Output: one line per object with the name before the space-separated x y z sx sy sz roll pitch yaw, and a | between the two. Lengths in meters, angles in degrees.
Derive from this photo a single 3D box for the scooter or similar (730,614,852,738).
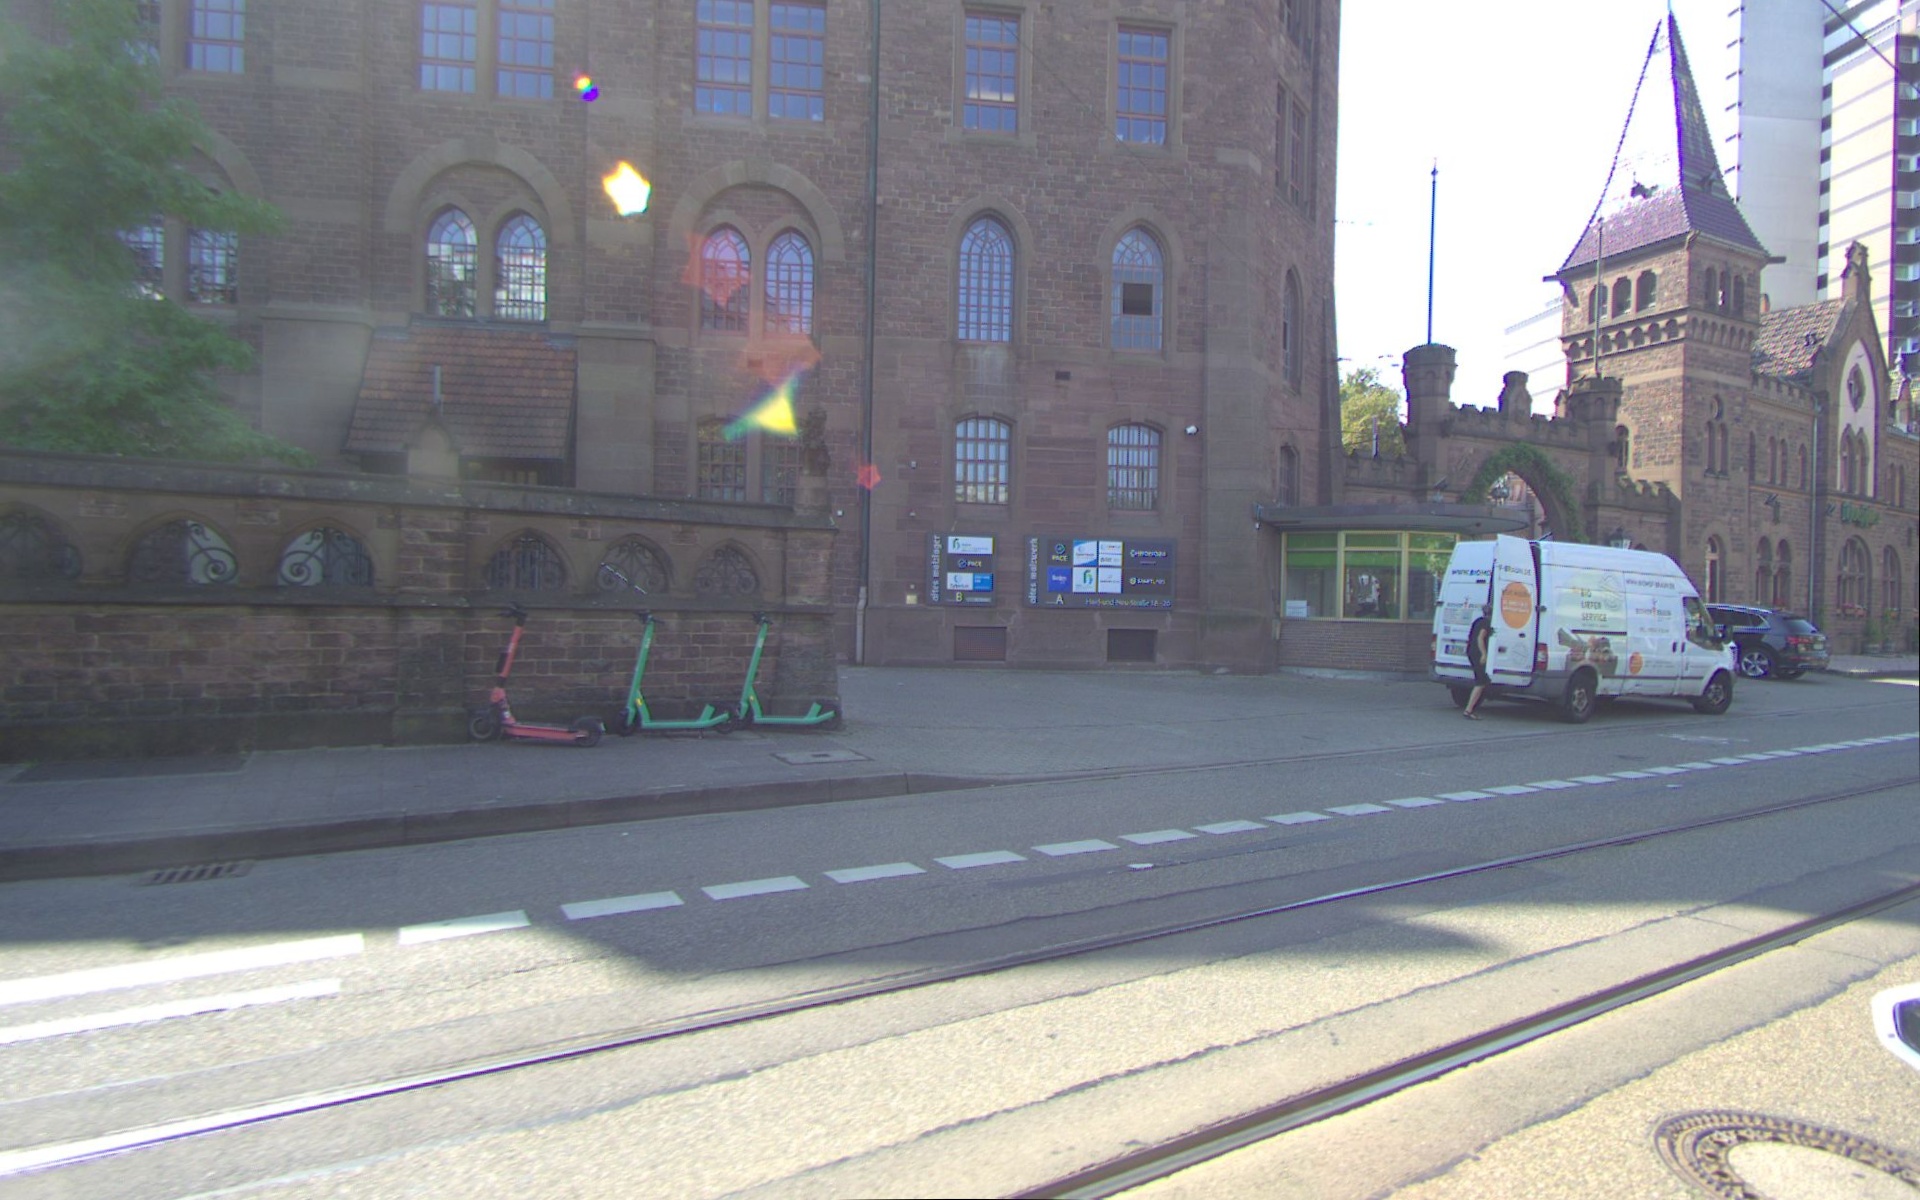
scooter or similar | -1.677 0.756 10.064 1.156 1.194 0.340 1 0 -6

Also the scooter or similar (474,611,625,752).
scooter or similar | -3.589 0.708 8.817 1.156 1.194 0.340 1 0 -6

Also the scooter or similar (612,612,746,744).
scooter or similar | -2.643 0.732 9.496 1.156 1.194 0.340 1 0 -6

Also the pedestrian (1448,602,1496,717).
pedestrian | 7.401 0.842 14.535 0.542 1.620 0.498 2 0 23

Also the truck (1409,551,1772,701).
truck | 12.893 0.327 21.250 2.102 2.573 6.299 0 4 -25

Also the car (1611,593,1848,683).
car | 18.816 0.865 24.767 1.976 1.767 4.116 1 3 -29

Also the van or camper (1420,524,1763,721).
van or camper | 10.266 0.360 16.186 5.883 2.711 2.103 1 0 -30
